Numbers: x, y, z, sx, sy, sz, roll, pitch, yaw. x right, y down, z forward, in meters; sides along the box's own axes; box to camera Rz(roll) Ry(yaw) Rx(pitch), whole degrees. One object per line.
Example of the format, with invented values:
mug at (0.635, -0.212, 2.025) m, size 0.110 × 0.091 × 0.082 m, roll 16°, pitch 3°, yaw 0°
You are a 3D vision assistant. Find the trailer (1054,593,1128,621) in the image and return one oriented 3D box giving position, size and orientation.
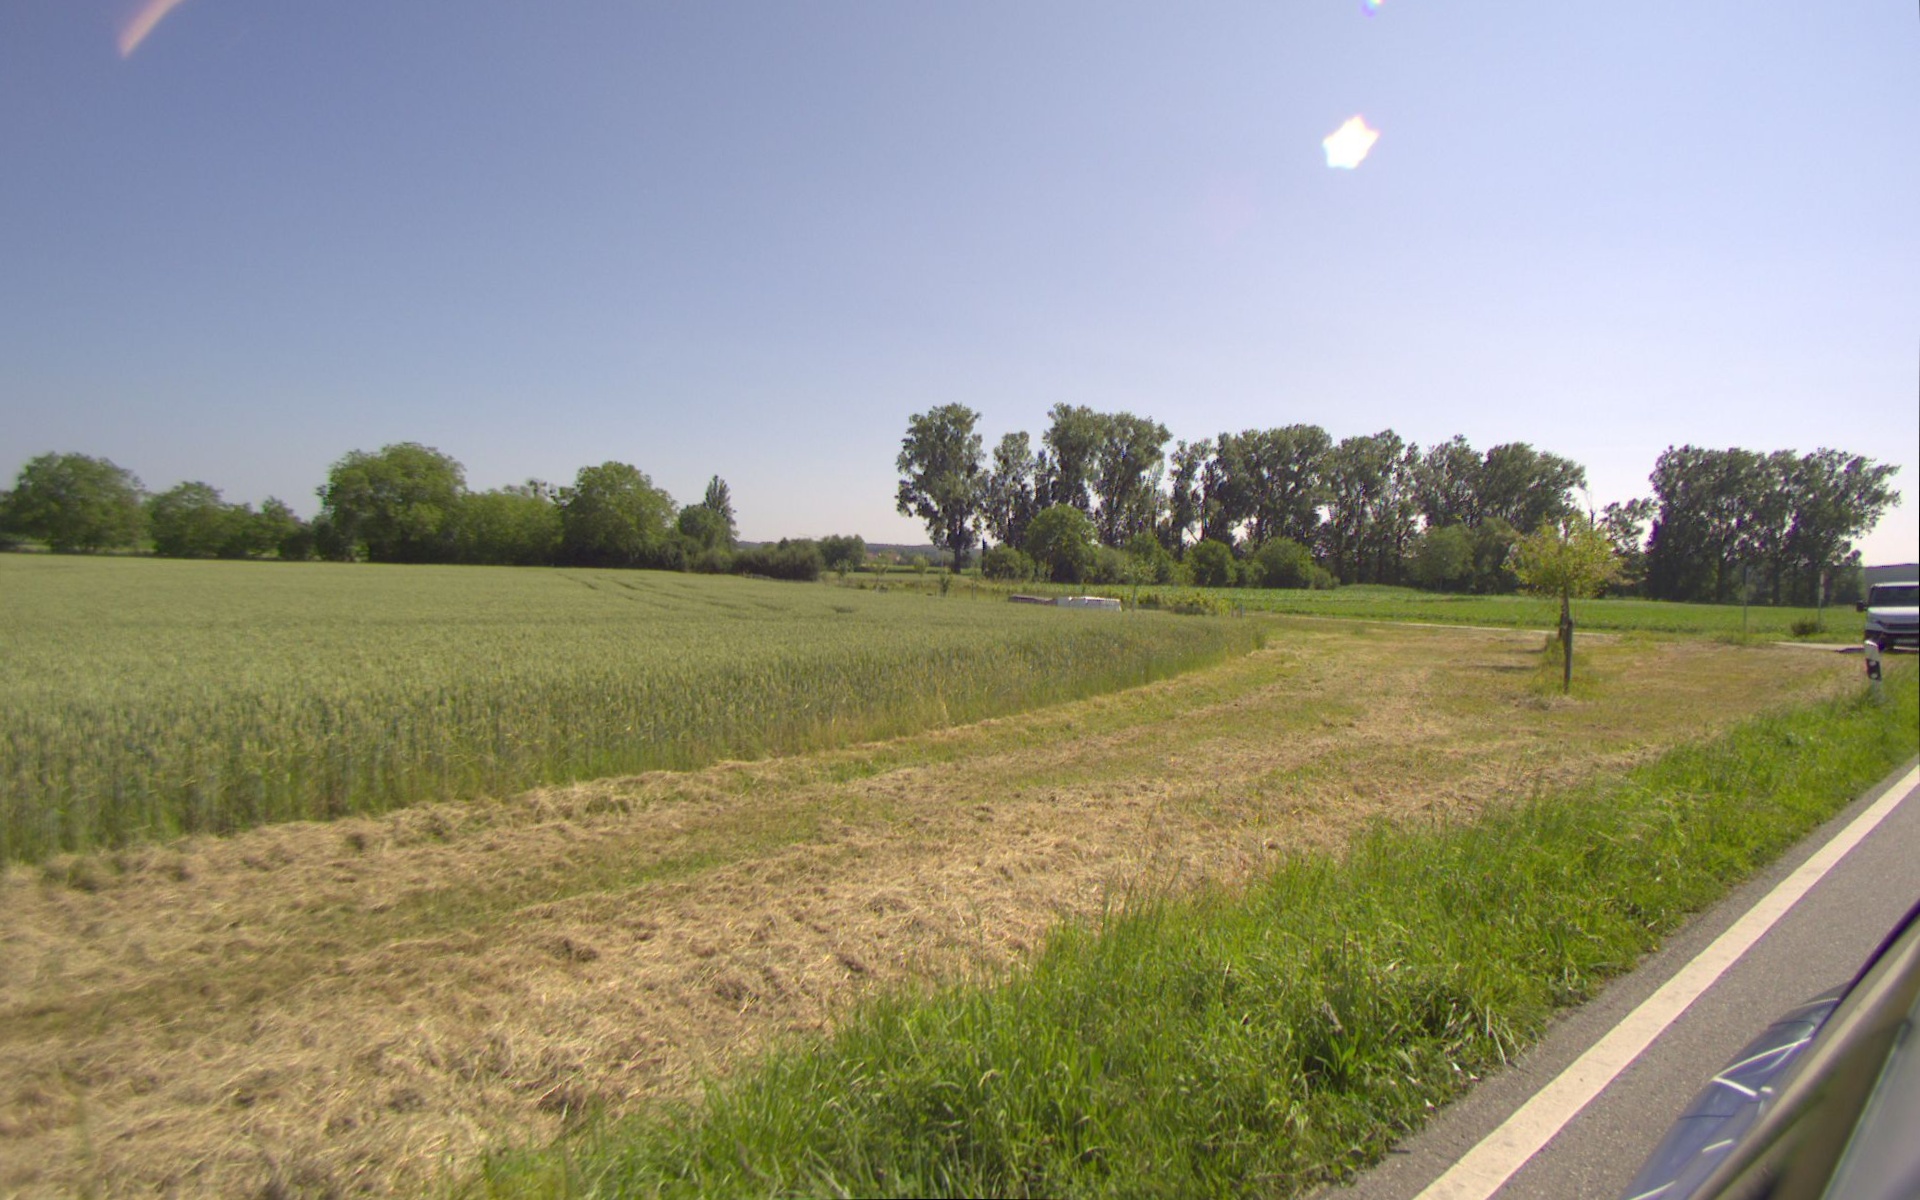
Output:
trailer at (5.994, 0.303, 46.704) m, size 1.630 × 1.204 × 3.601 m, roll 0°, pitch 1°, yaw -28°

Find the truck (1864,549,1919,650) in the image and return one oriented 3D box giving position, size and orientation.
truck at (31.046, -0.029, 32.494) m, size 6.890 × 2.980 × 2.338 m, roll 0°, pitch -1°, yaw -43°

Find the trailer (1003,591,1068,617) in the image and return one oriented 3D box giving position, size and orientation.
trailer at (3.772, 0.175, 51.304) m, size 1.630 × 1.204 × 3.554 m, roll 0°, pitch 1°, yaw -28°
